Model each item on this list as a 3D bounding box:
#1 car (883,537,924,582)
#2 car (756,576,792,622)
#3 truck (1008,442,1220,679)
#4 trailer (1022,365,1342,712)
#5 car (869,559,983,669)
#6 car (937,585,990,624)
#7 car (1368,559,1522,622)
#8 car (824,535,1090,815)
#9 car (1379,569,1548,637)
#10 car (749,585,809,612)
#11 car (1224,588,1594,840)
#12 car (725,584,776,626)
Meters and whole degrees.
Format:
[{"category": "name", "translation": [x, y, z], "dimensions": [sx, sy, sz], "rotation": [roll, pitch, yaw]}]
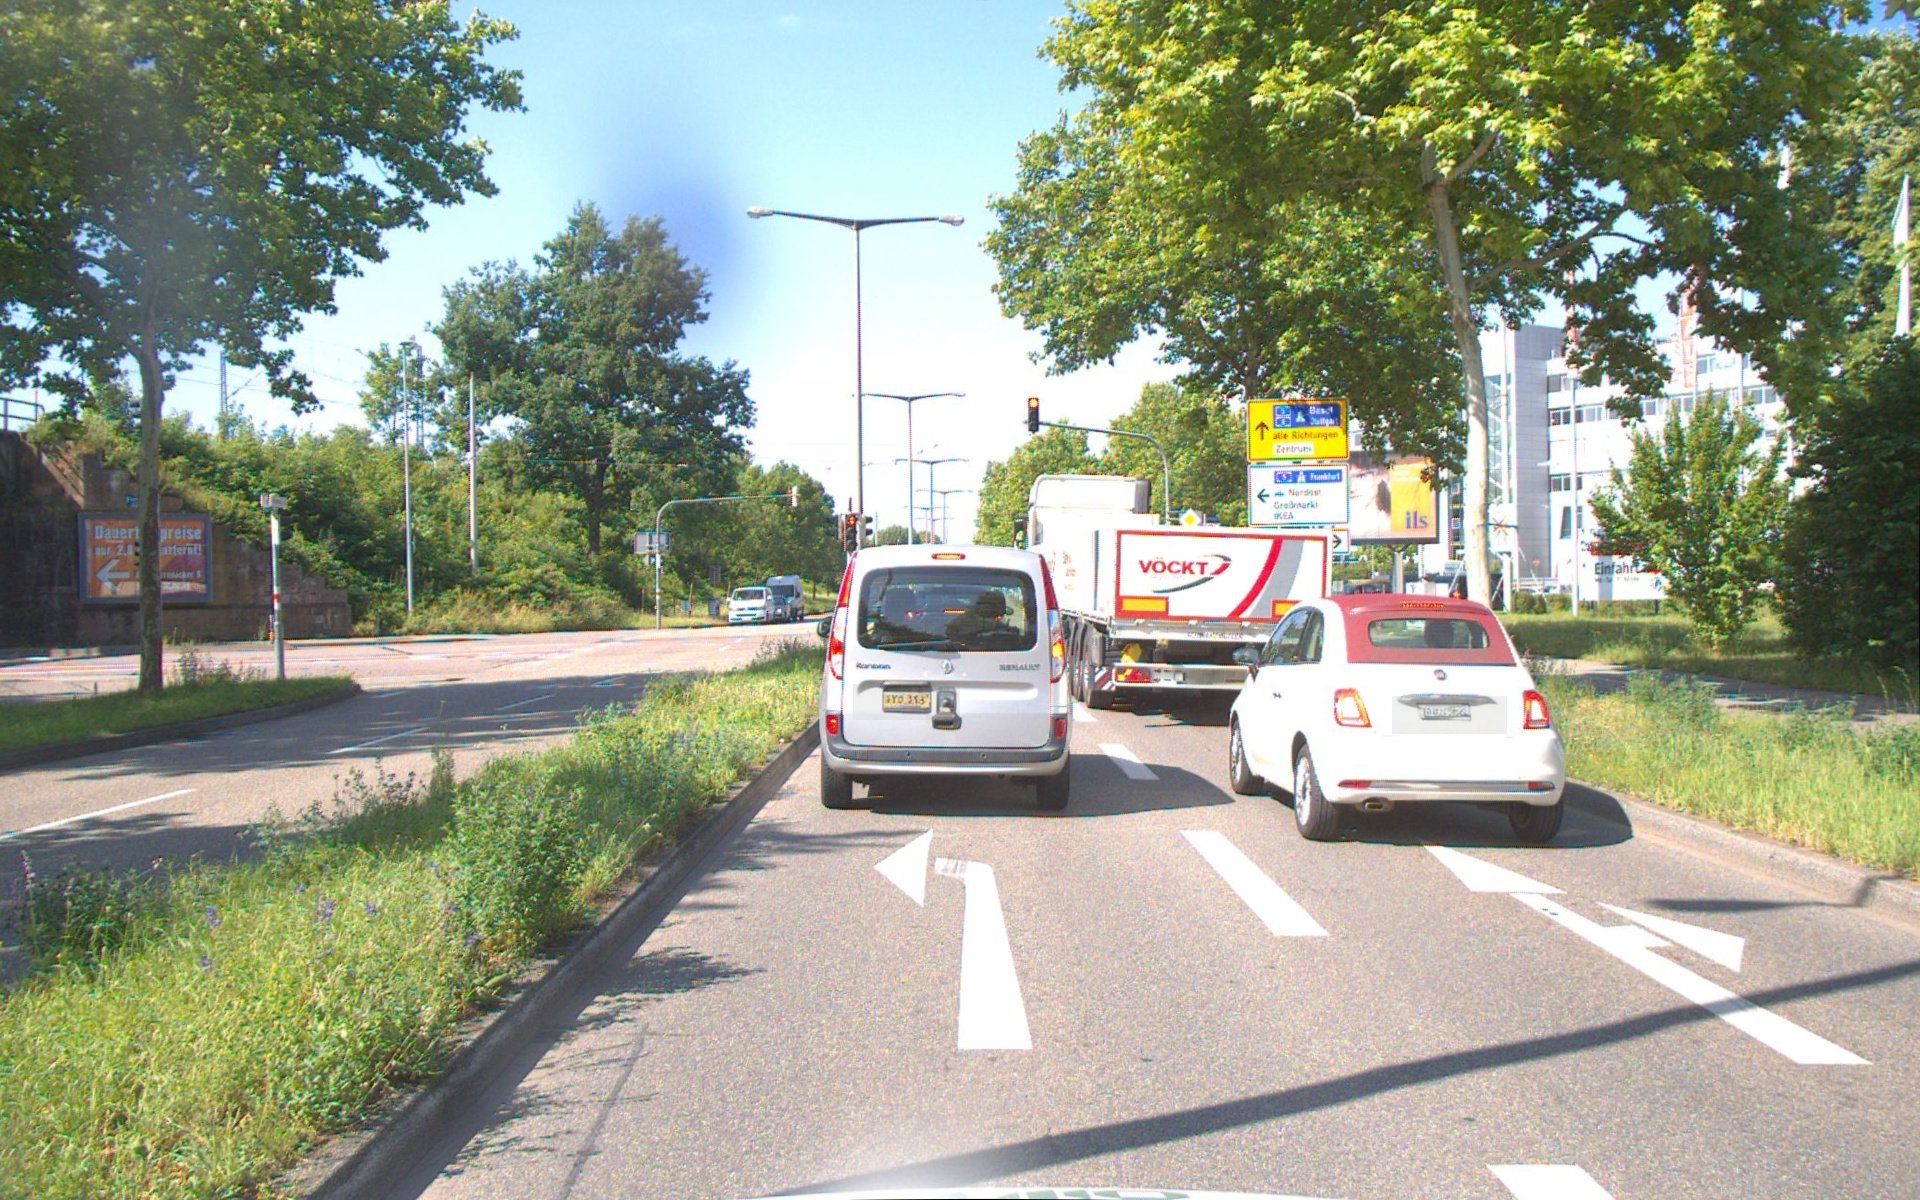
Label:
[{"category": "car", "translation": [-2.773, -1.942, 80.589], "dimensions": [1.681, 2.049, 3.995], "rotation": [0, 0, -6]}, {"category": "car", "translation": [-10.994, -0.053, 97.766], "dimensions": [2.019, 2.660, 5.861], "rotation": [0, 0, -7]}, {"category": "truck", "translation": [2.611, -0.645, 30.592], "dimensions": [3.009, 3.823, 7.474], "rotation": [0, 0, -2]}, {"category": "trailer", "translation": [2.674, -0.675, 24.337], "dimensions": [2.954, 3.806, 12.238], "rotation": [0, 0, -1]}, {"category": "car", "translation": [-0.632, 0.225, 27.932], "dimensions": [1.773, 1.713, 3.997], "rotation": [0, 0, -3]}, {"category": "car", "translation": [0.121, 0.194, 74.795], "dimensions": [1.955, 1.668, 3.995], "rotation": [0, 0, -6]}, {"category": "car", "translation": [13.573, -0.267, 46.447], "dimensions": [3.903, 1.691, 1.724], "rotation": [0, 0, 4]}, {"category": "car", "translation": [-0.053, 0.486, 12.695], "dimensions": [1.713, 1.803, 3.948], "rotation": [0, 0, -1]}, {"category": "car", "translation": [12.955, 0.074, 42.731], "dimensions": [3.903, 1.691, 1.724], "rotation": [0, 0, 4]}, {"category": "car", "translation": [-9.906, -0.101, 90.430], "dimensions": [1.889, 1.433, 4.189], "rotation": [0, 0, -27]}, {"category": "car", "translation": [2.907, 0.666, 11.432], "dimensions": [1.627, 1.461, 3.520], "rotation": [0, 0, 1]}, {"category": "car", "translation": [-10.401, 0.252, 82.393], "dimensions": [1.953, 1.924, 4.986], "rotation": [-3, 0, -2]}]
